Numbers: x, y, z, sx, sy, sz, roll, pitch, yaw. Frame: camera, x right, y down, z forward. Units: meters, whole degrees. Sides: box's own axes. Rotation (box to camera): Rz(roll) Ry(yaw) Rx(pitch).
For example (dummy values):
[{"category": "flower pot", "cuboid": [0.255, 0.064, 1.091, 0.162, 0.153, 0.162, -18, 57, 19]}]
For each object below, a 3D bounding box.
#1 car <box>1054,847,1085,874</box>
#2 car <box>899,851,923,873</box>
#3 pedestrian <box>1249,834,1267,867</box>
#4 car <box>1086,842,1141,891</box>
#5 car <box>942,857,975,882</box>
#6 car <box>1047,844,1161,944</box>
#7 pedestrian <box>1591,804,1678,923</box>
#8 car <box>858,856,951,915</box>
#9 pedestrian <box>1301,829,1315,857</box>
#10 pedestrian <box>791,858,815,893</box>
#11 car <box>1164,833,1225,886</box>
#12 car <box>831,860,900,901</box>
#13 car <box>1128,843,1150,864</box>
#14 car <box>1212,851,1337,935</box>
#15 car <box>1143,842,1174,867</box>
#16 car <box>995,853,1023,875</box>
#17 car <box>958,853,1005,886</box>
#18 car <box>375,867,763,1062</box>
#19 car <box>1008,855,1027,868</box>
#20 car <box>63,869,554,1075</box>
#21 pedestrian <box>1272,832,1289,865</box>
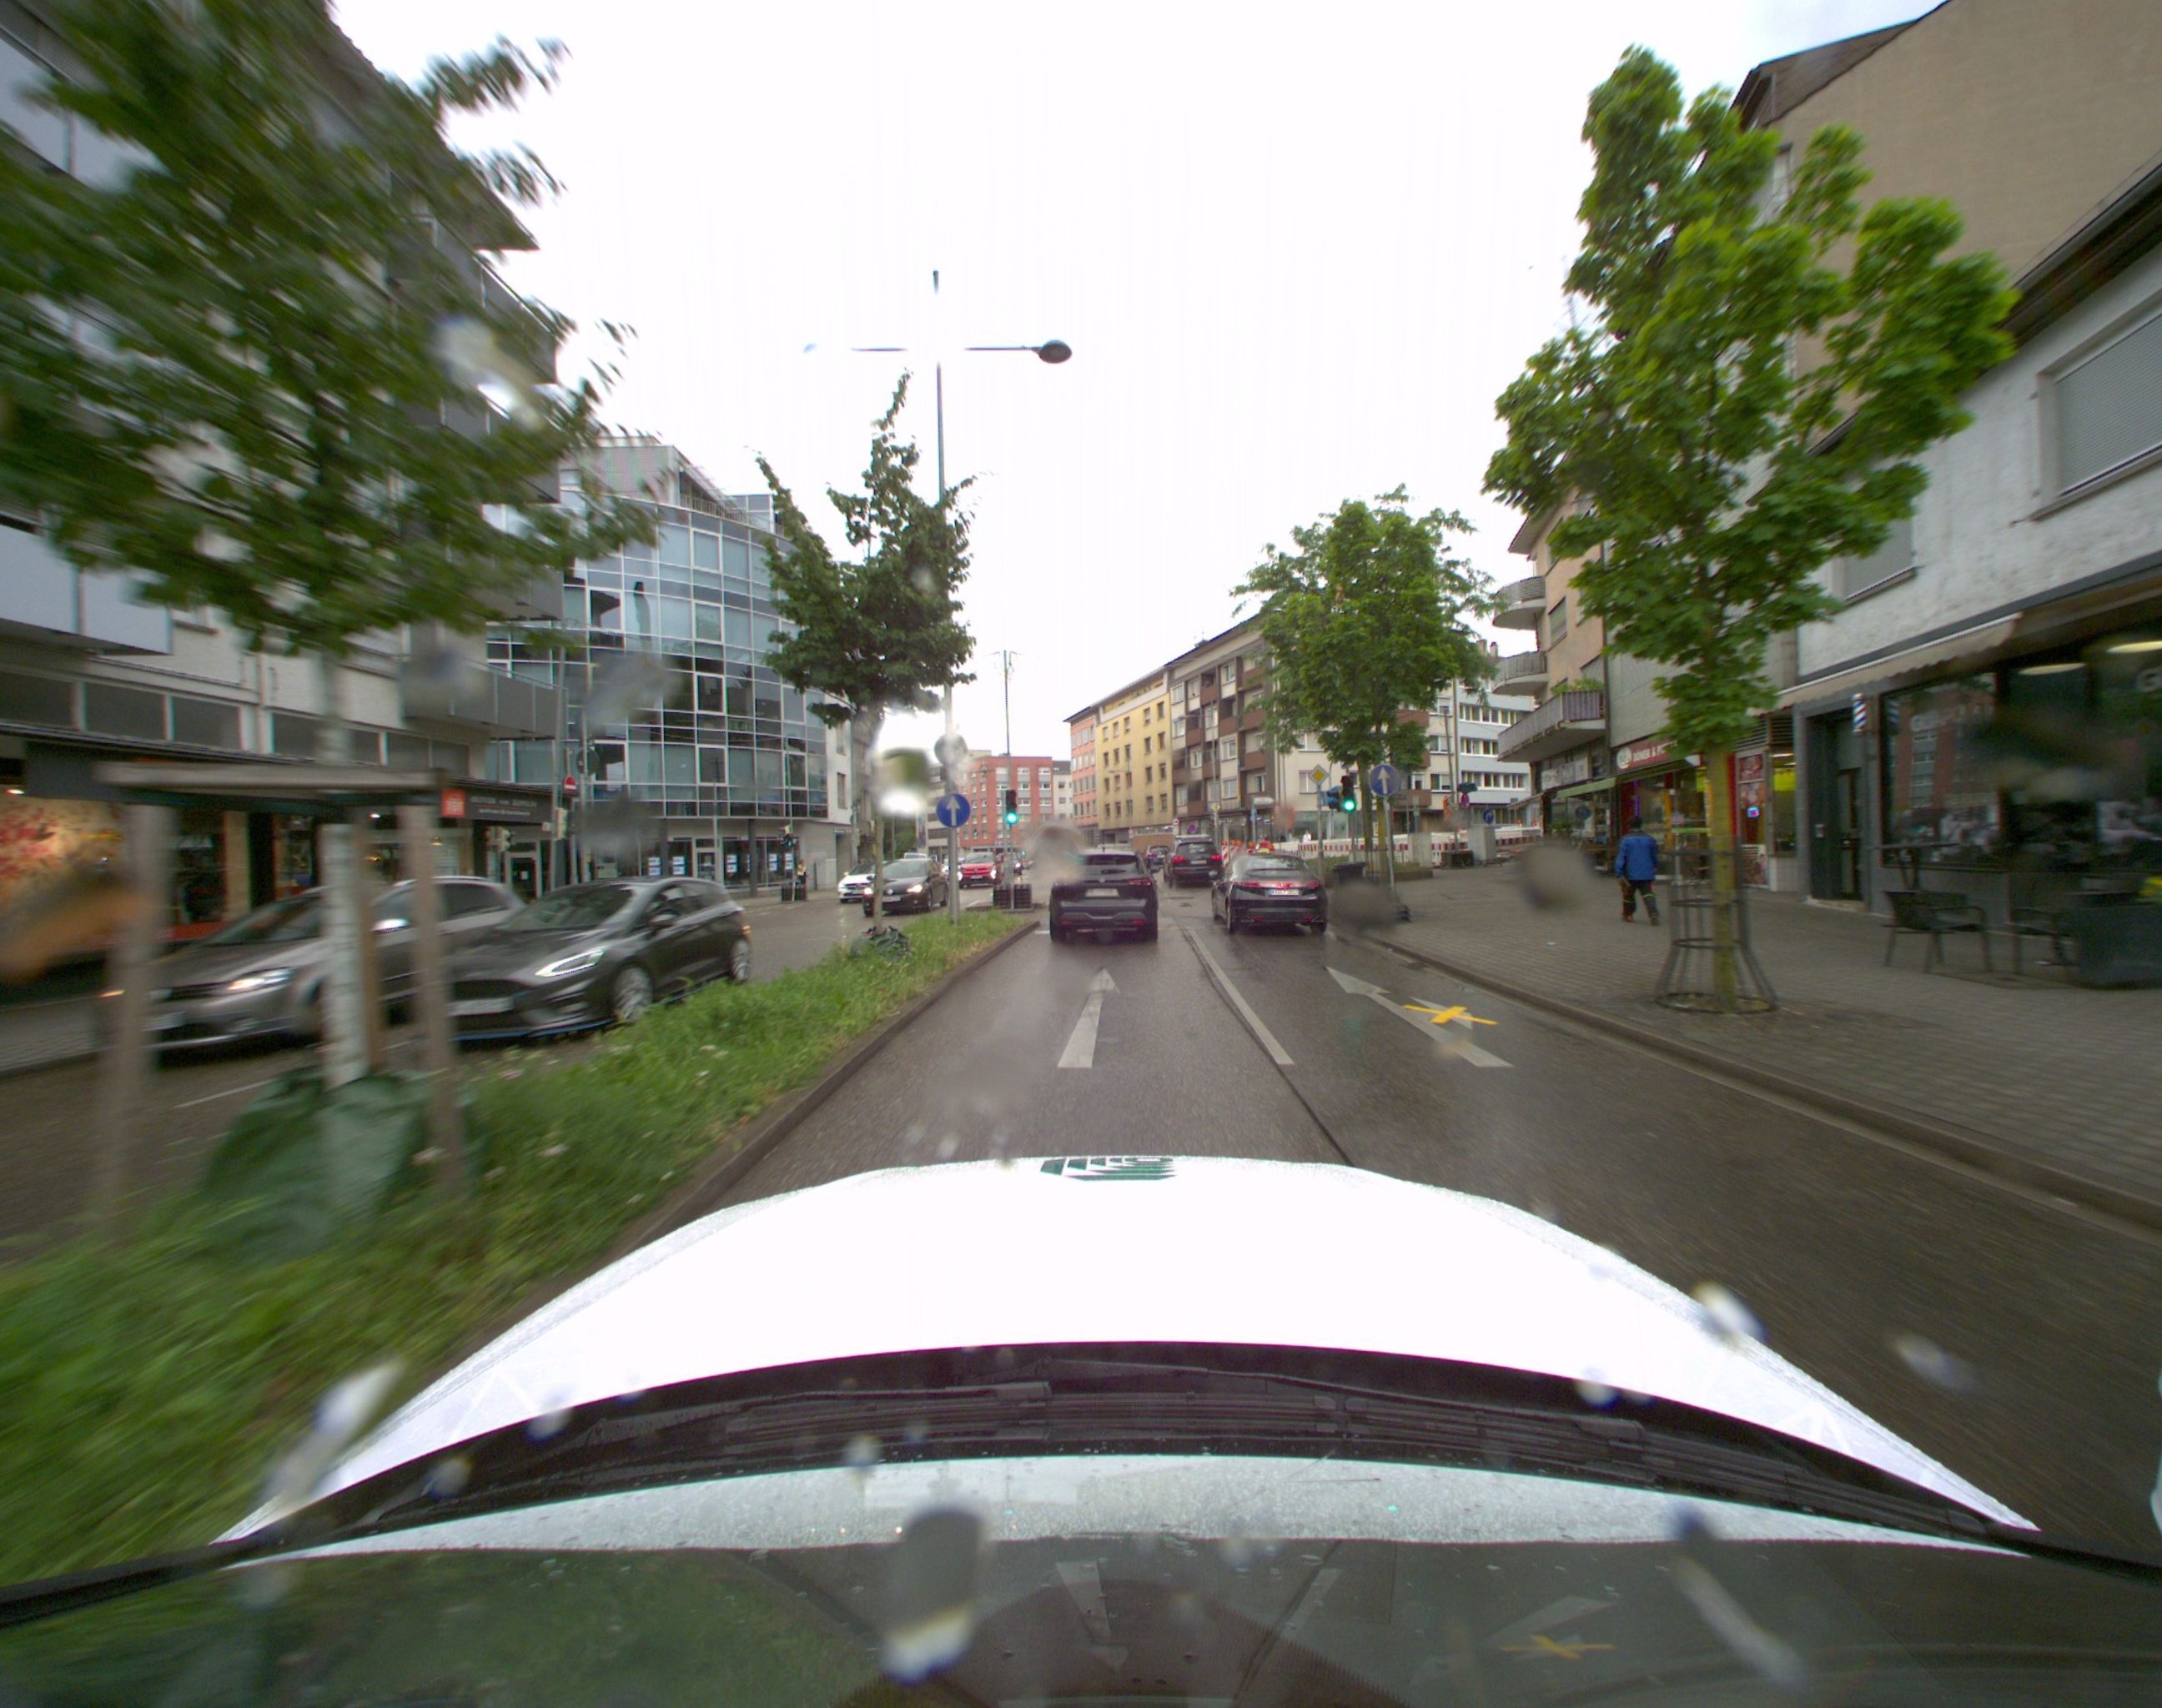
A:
[{"category": "car", "cuboid": [-0.657, 0.350, 46.075, 1.636, 1.381, 3.347, -3, 0, -1]}, {"category": "car", "cuboid": [-12.743, 0.576, 61.203, 1.549, 1.570, 3.338, 0, 0, -9]}, {"category": "pedestrian", "cuboid": [10.946, -0.228, 50.348, 0.824, 2.013, 0.834, 0, 1, -18]}, {"category": "car", "cuboid": [1.113, 0.414, 28.702, 1.817, 1.600, 3.719, 0, 0, 1]}, {"category": "car", "cuboid": [-8.009, 0.974, 53.466, 1.637, 1.490, 3.345, -3, 0, -2]}, {"category": "car", "cuboid": [0.399, 0.627, 14.891, 1.817, 1.600, 3.719, 0, 0, 1]}, {"category": "pedestrian", "cuboid": [8.609, 0.140, 12.713, 0.786, 1.755, 0.875, -3, 0, 13]}, {"category": "car", "cuboid": [-4.807, 0.808, 22.659, 1.665, 1.369, 3.752, -3, 0, 0]}, {"category": "pedestrian", "cuboid": [14.254, -0.686, 51.173, 0.532, 1.769, 0.617, 0, 1, -30]}, {"category": "pedestrian", "cuboid": [-13.056, 1.004, 38.271, 0.787, 1.591, 0.755, -3, 0, -36]}, {"category": "car", "cuboid": [4.083, 0.161, 29.804, 1.823, 1.805, 3.721, 0, 1, 2]}, {"category": "car", "cuboid": [-7.755, 0.929, 29.569, 1.545, 1.290, 3.348, -3, 0, 0]}, {"category": "car", "cuboid": [4.897, -0.034, 68.558, 1.822, 1.683, 3.723, 0, 1, 4]}, {"category": "car", "cuboid": [3.604, 0.668, 15.803, 1.778, 1.400, 3.723, -1, 0, 4]}, {"category": "car", "cuboid": [5.006, 0.010, 52.965, 1.823, 1.562, 3.721, 0, 1, 2]}, {"category": "car", "cuboid": [-4.881, 0.647, 55.276, 1.637, 1.344, 3.345, -3, 0, -2]}, {"category": "car", "cuboid": [-4.461, 0.687, 37.002, 1.636, 1.321, 3.347, -3, 0, 0]}, {"category": "car", "cuboid": [-5.007, 0.947, 8.710, 1.527, 1.412, 3.937, -4, 0, 0]}, {"category": "car", "cuboid": [-7.269, 0.827, 92.608, 1.642, 1.344, 3.334, -3, 0, -12]}, {"category": "car", "cuboid": [-8.062, 1.073, 9.130, 1.627, 1.591, 3.936, -4, 0, 0]}, {"category": "pedestrian", "cuboid": [12.166, -0.342, 49.651, 0.814, 2.013, 0.844, 0, 1, 24]}]
